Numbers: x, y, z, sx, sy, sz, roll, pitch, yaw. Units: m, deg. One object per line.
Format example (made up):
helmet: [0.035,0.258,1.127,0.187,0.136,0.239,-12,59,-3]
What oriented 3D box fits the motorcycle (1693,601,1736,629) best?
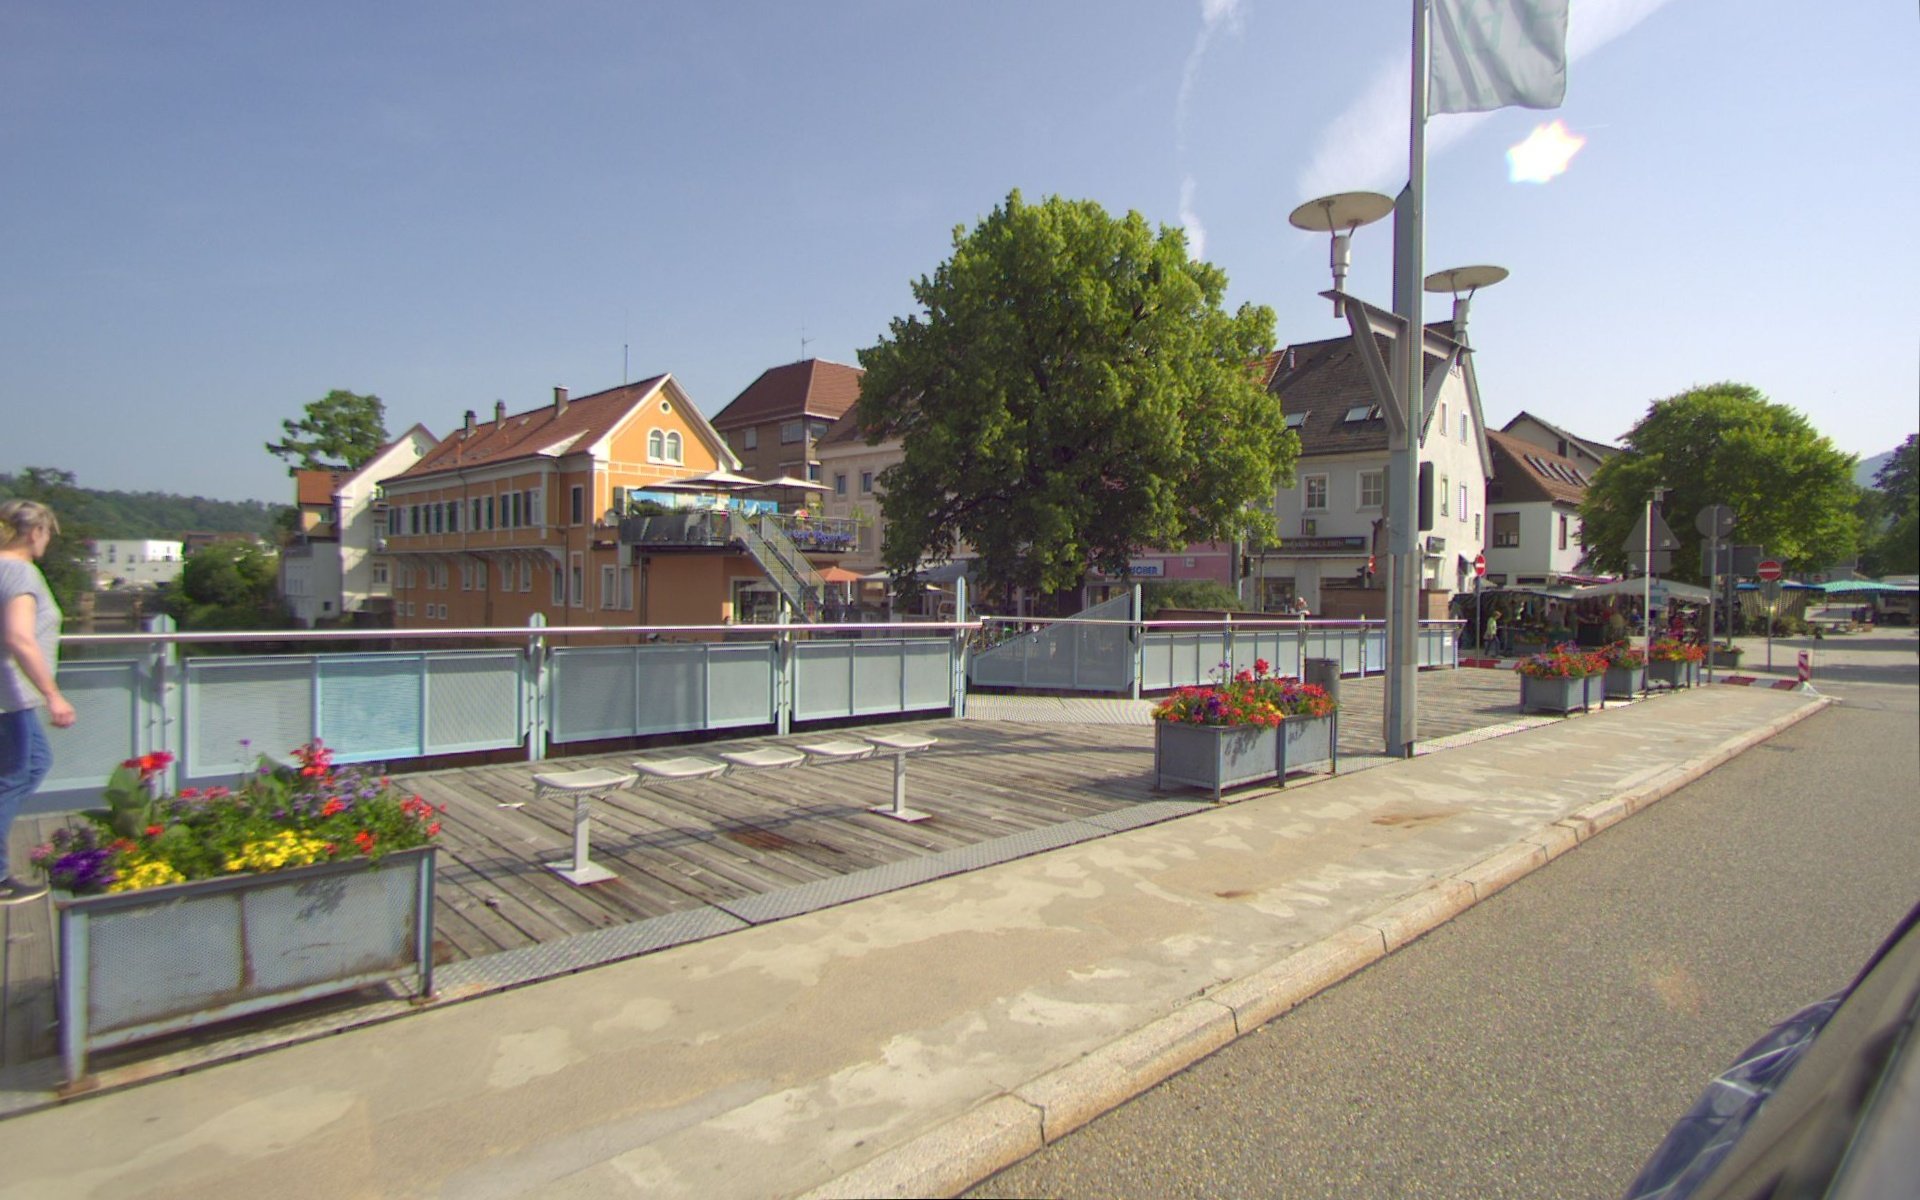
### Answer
motorcycle: [37.001,0.727,49.639,0.633,1.210,1.529,0,3,-45]

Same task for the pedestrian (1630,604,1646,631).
pedestrian: [31.954,0.811,47.722,0.568,1.215,0.643,3,3,34]

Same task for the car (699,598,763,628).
car: [-13.048,0.699,57.536,1.657,1.578,4.092,0,1,-45]

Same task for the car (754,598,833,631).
car: [-8.864,0.732,53.542,4.577,1.617,1.724,1,1,43]

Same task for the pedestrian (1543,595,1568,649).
pedestrian: [22.557,0.808,38.321,0.700,2.010,0.647,1,0,24]

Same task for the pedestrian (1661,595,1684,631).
pedestrian: [32.894,0.589,46.720,0.562,1.572,0.699,0,3,-39]

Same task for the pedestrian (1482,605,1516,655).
pedestrian: [18.681,1.036,35.062,0.775,1.652,0.857,-3,2,-44]

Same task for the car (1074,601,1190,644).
car: [7.087,0.889,41.897,4.482,1.585,1.798,1,2,42]

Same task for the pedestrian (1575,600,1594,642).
pedestrian: [24.807,0.842,40.224,0.520,1.647,0.697,1,0,40]

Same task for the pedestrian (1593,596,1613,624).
pedestrian: [32.024,0.506,50.386,0.687,1.347,0.626,-1,3,-42]

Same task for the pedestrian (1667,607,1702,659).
pedestrian: [24.788,1.106,34.631,0.878,1.678,0.565,4,3,36]

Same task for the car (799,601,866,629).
car: [-7.432,0.841,58.763,3.987,1.466,1.708,2,1,43]

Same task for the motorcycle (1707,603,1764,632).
motorcycle: [36.873,0.824,48.159,0.631,1.210,2.008,0,3,-31]

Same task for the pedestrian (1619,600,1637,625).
pedestrian: [33.569,0.629,50.840,0.640,1.215,0.571,-1,3,-44]

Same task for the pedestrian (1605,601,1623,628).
pedestrian: [31.546,0.687,48.810,0.640,1.215,0.571,-1,3,-44]

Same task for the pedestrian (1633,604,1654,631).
pedestrian: [31.594,0.800,46.788,0.694,1.215,0.566,3,3,31]

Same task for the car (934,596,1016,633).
car: [0.752,0.703,51.950,4.130,1.761,1.686,1,2,43]

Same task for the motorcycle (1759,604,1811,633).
motorcycle: [39.149,0.869,48.058,0.631,1.210,2.008,2,3,-4]

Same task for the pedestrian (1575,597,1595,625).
pedestrian: [30.583,0.535,49.541,0.687,1.347,0.626,-1,3,-42]

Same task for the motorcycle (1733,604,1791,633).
motorcycle: [37.994,0.871,47.969,0.631,1.210,2.008,1,3,-31]

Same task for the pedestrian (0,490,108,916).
pedestrian: [-3.913,0.392,4.134,0.665,1.639,0.555,0,0,41]

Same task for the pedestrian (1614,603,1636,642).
pedestrian: [26.830,0.909,40.824,0.616,1.537,0.627,1,0,26]

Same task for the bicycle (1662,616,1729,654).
bicycle: [25.760,1.226,35.472,1.848,1.250,0.610,1,0,33]

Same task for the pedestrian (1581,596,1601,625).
pedestrian: [31.254,0.517,50.154,0.687,1.347,0.626,-1,3,-42]
